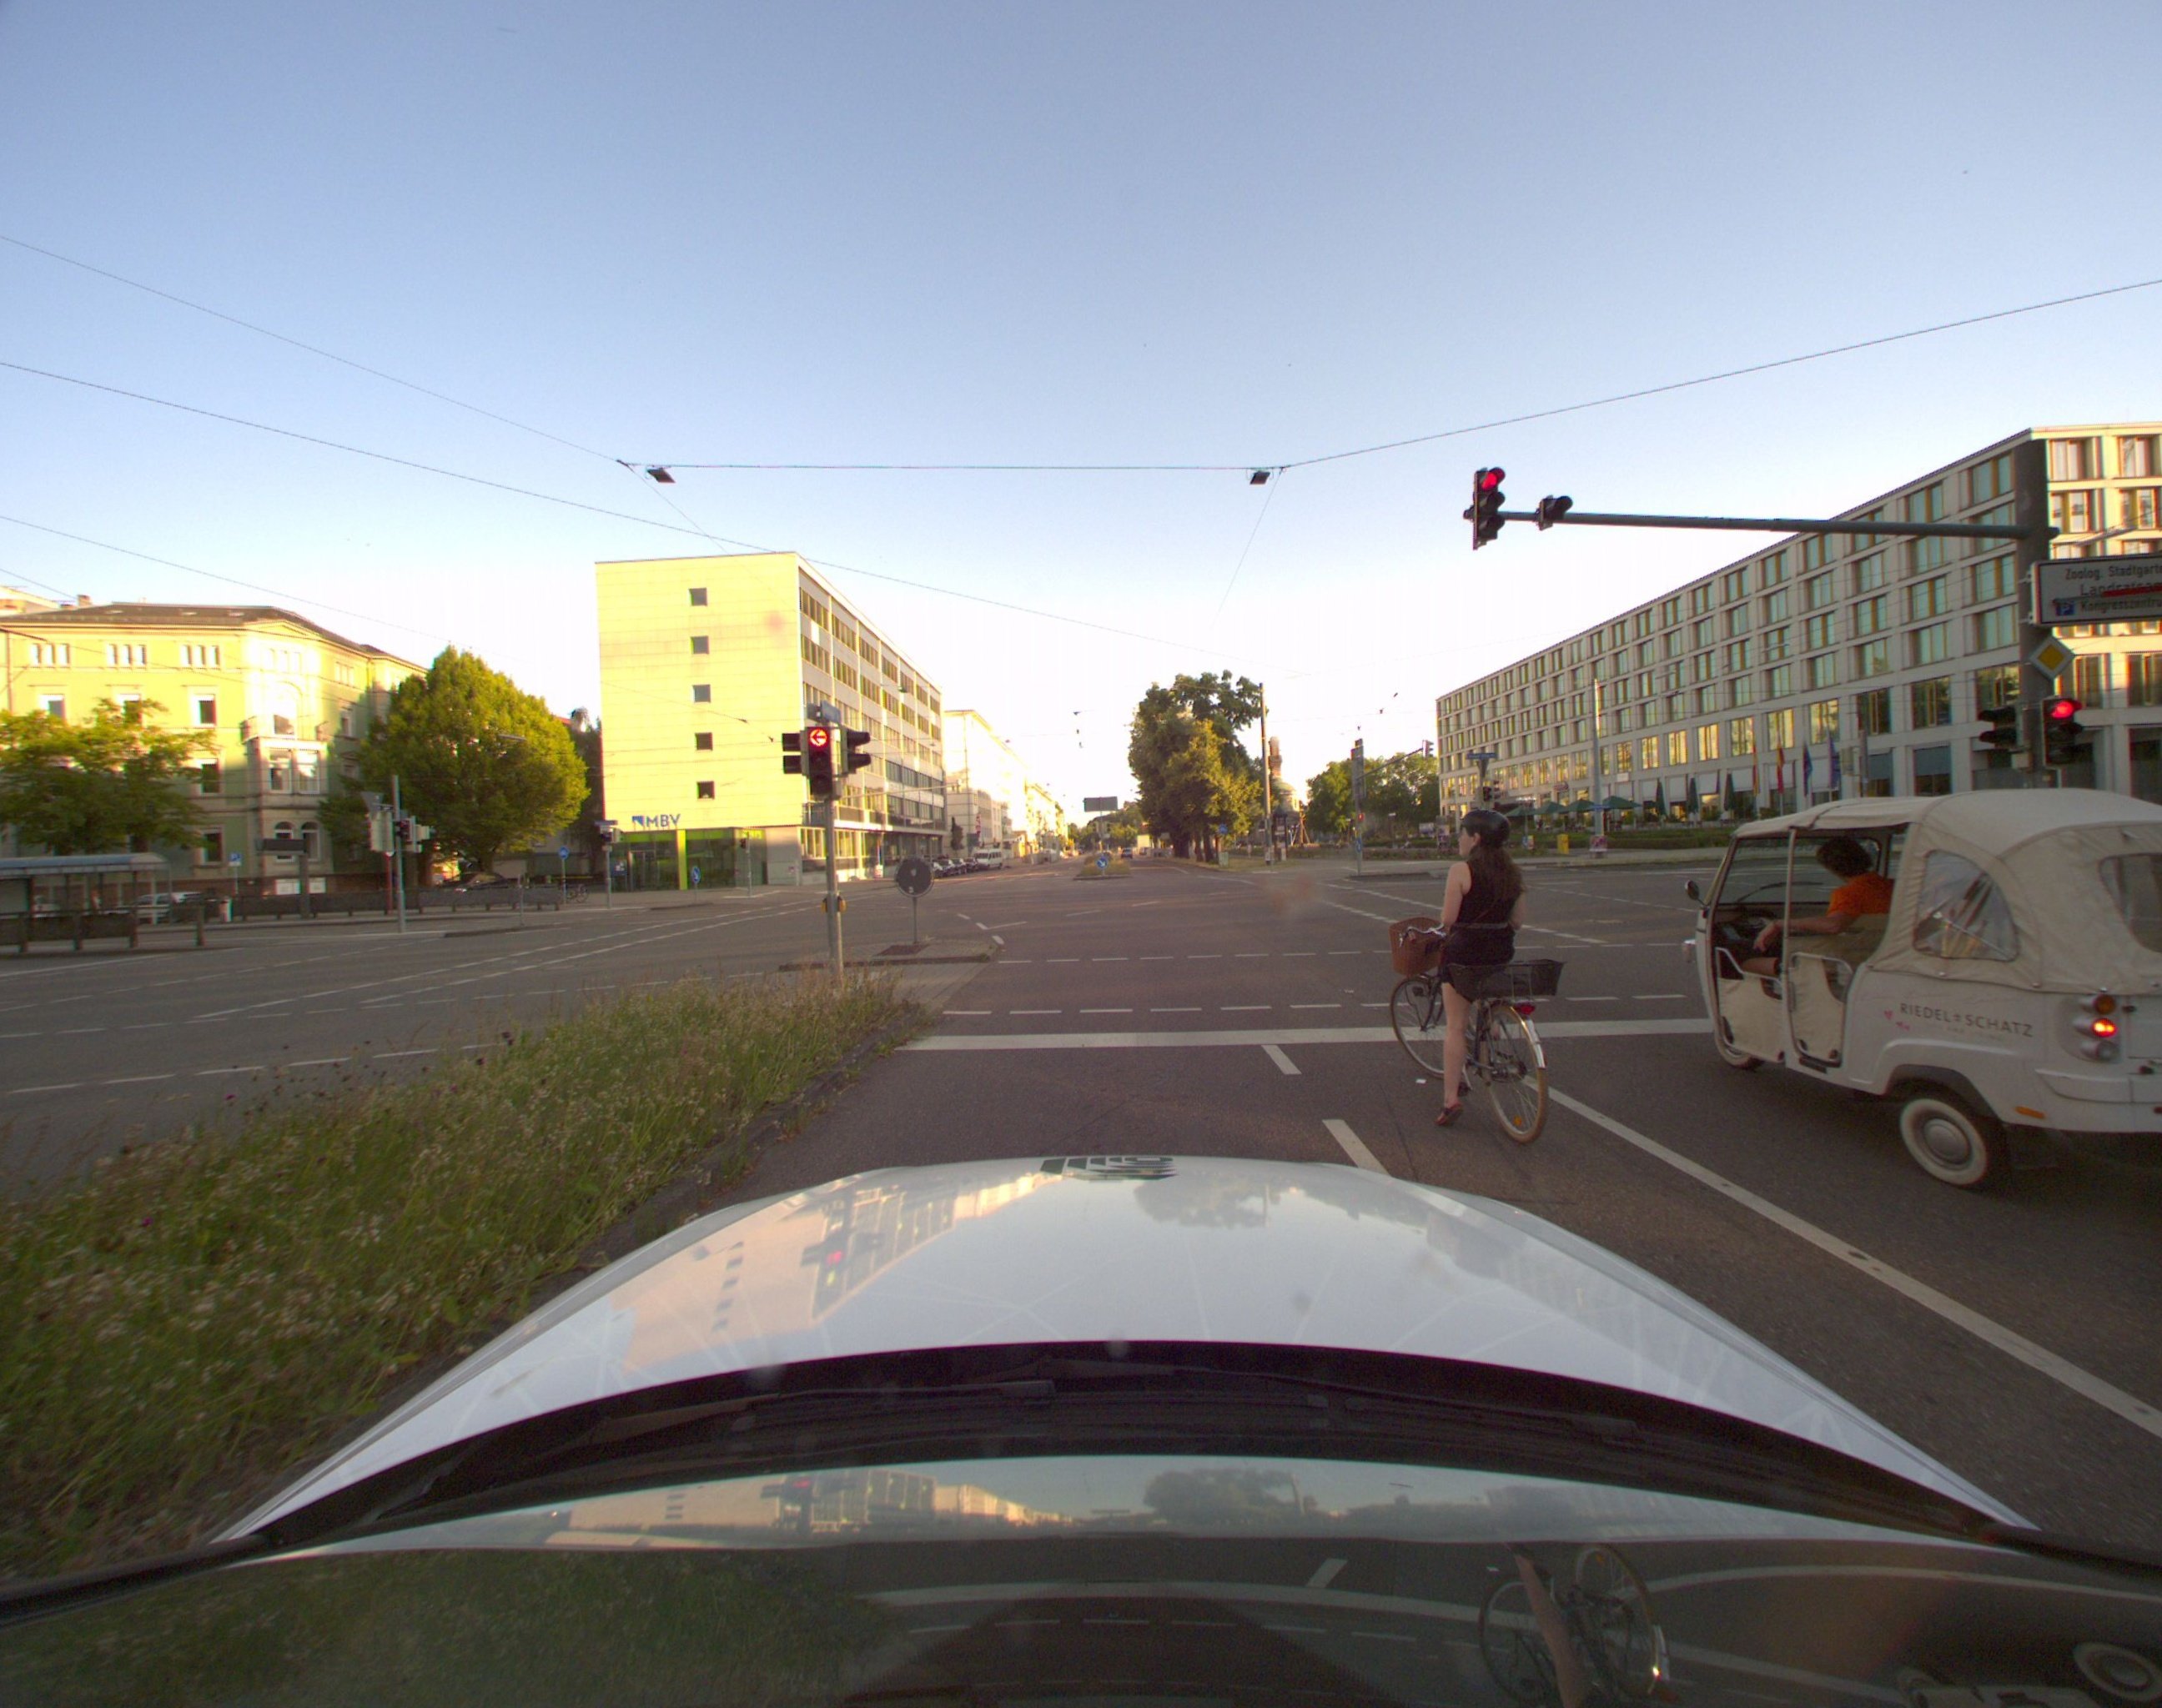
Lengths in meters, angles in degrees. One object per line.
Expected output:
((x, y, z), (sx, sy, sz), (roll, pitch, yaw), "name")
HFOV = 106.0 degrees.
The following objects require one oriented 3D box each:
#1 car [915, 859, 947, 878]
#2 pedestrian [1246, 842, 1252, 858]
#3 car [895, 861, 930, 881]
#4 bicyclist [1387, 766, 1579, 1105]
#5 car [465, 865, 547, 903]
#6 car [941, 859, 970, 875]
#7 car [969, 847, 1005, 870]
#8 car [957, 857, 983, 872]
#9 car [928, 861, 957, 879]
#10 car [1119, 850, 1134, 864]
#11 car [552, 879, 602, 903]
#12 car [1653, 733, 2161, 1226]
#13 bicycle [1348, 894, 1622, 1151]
((-12.943, 1.301, 70.473), (1.789, 1.475, 4.000), (-3, -2, 1), "car")
((16.870, -0.407, 81.797), (0.506, 1.668, 0.531), (-3, 0, 1), "pedestrian")
((-13.302, 1.361, 64.398), (1.789, 1.475, 4.000), (-3, -2, 1), "car")
((2.176, 0.412, 4.499), (0.626, 1.693, 0.749), (-3, 0, 1), "bicyclist")
((-34.724, 1.770, 49.321), (1.986, 2.013, 4.001), (-3, 0, 1), "car")
((-12.474, 1.344, 81.012), (1.787, 1.475, 4.006), (-3, -2, 6), "car")
((-10.786, 0.600, 93.976), (2.161, 2.385, 6.011), (-3, -2, 13), "car")
((-11.908, 1.168, 87.404), (1.787, 1.475, 4.005), (-3, -2, 5), "car")
((-12.816, 1.497, 75.480), (1.789, 1.475, 4.000), (-3, -2, 1), "car")
((7.070, 0.420, 126.739), (1.986, 2.013, 4.001), (-3, 0, 1), "car")
((-25.614, 1.878, 41.466), (0.850, 1.073, 2.522), (-3, 0, 1), "car")
((4.503, 0.406, 4.176), (1.453, 1.780, 2.568), (-2, 1, 4), "car")
((2.215, 0.832, 4.813), (0.635, 1.069, 2.070), (-1, 0, 2), "bicycle")
